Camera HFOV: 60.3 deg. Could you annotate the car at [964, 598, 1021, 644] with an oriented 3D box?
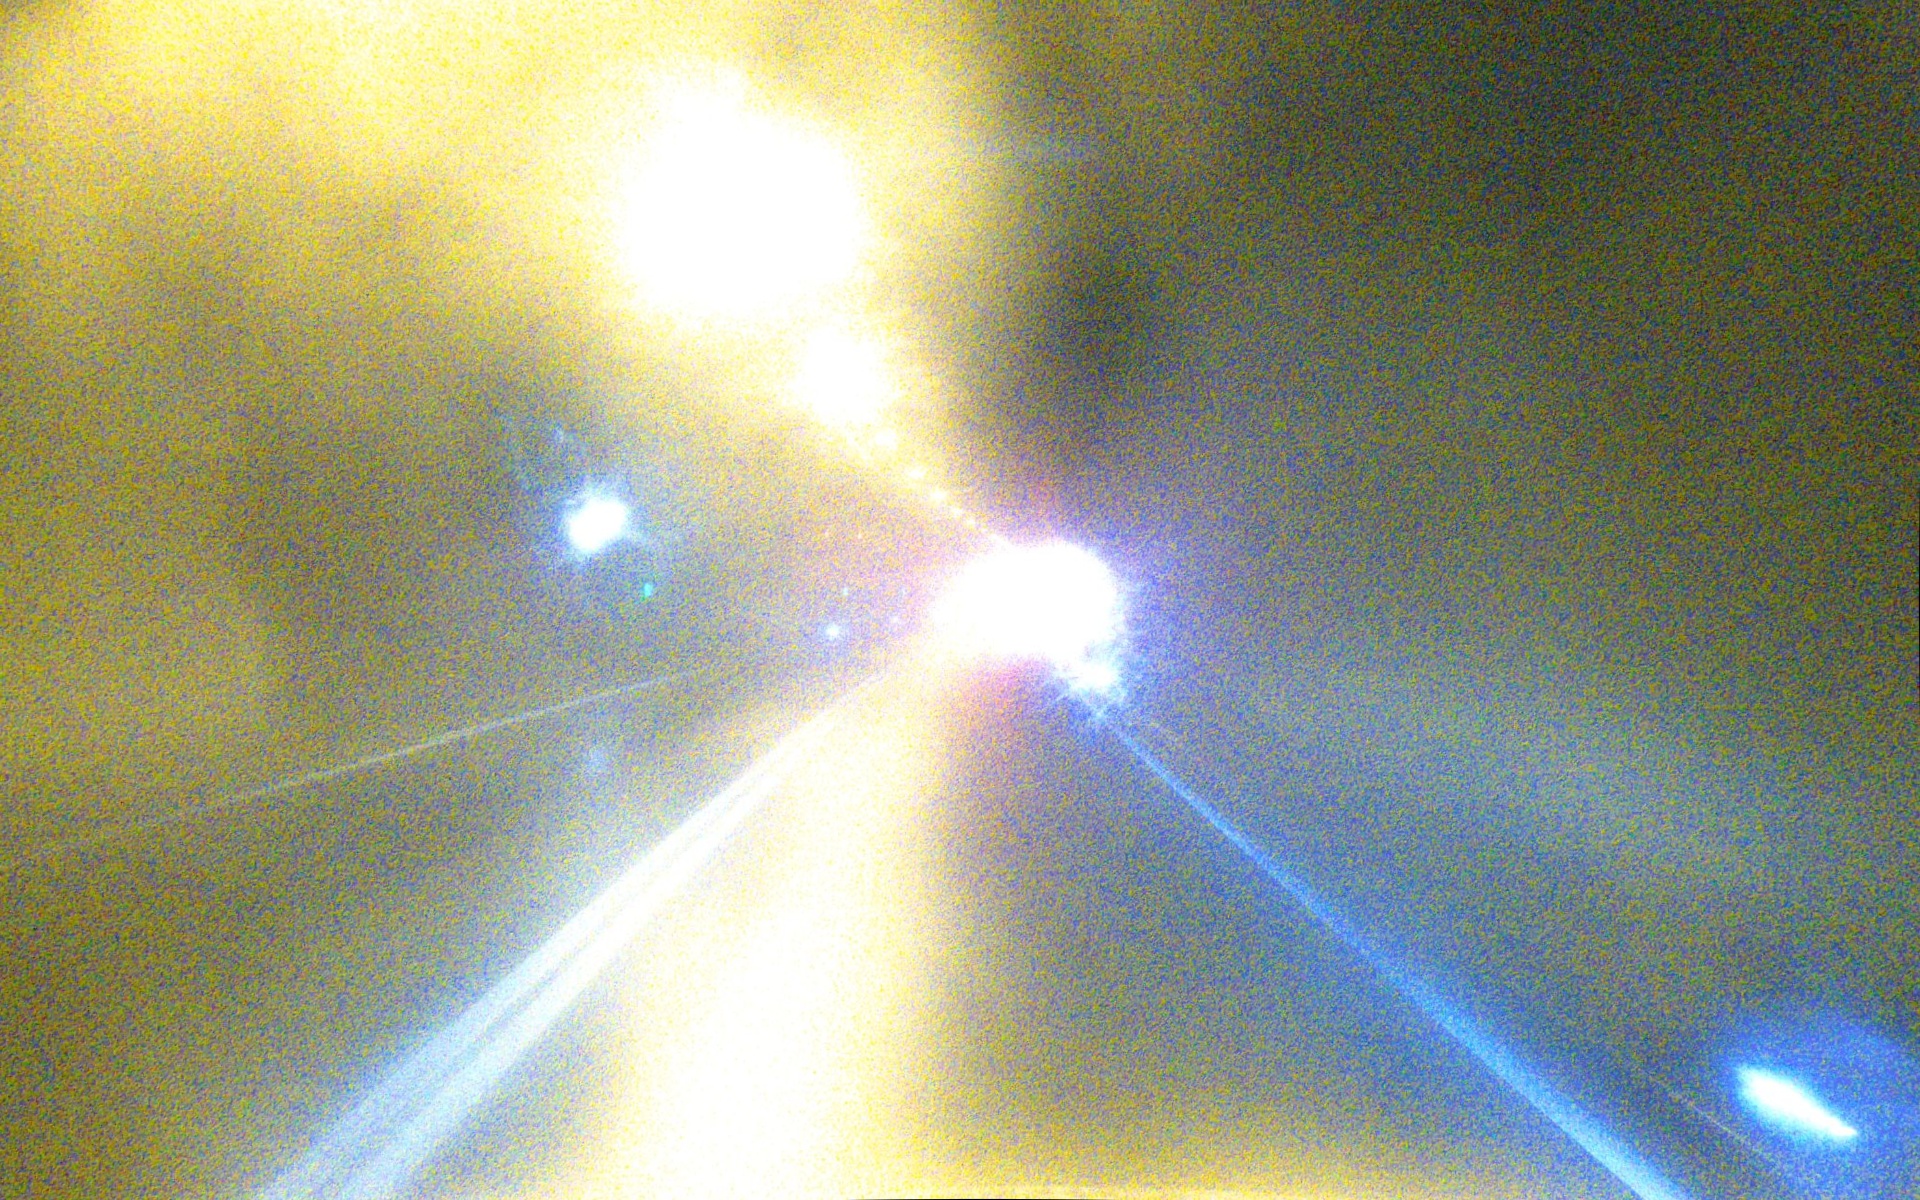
[{"bbox_3d":[1.302,0.800,64.710,2.046,1.691,4.002,1,0,4],"label":"car"}]
